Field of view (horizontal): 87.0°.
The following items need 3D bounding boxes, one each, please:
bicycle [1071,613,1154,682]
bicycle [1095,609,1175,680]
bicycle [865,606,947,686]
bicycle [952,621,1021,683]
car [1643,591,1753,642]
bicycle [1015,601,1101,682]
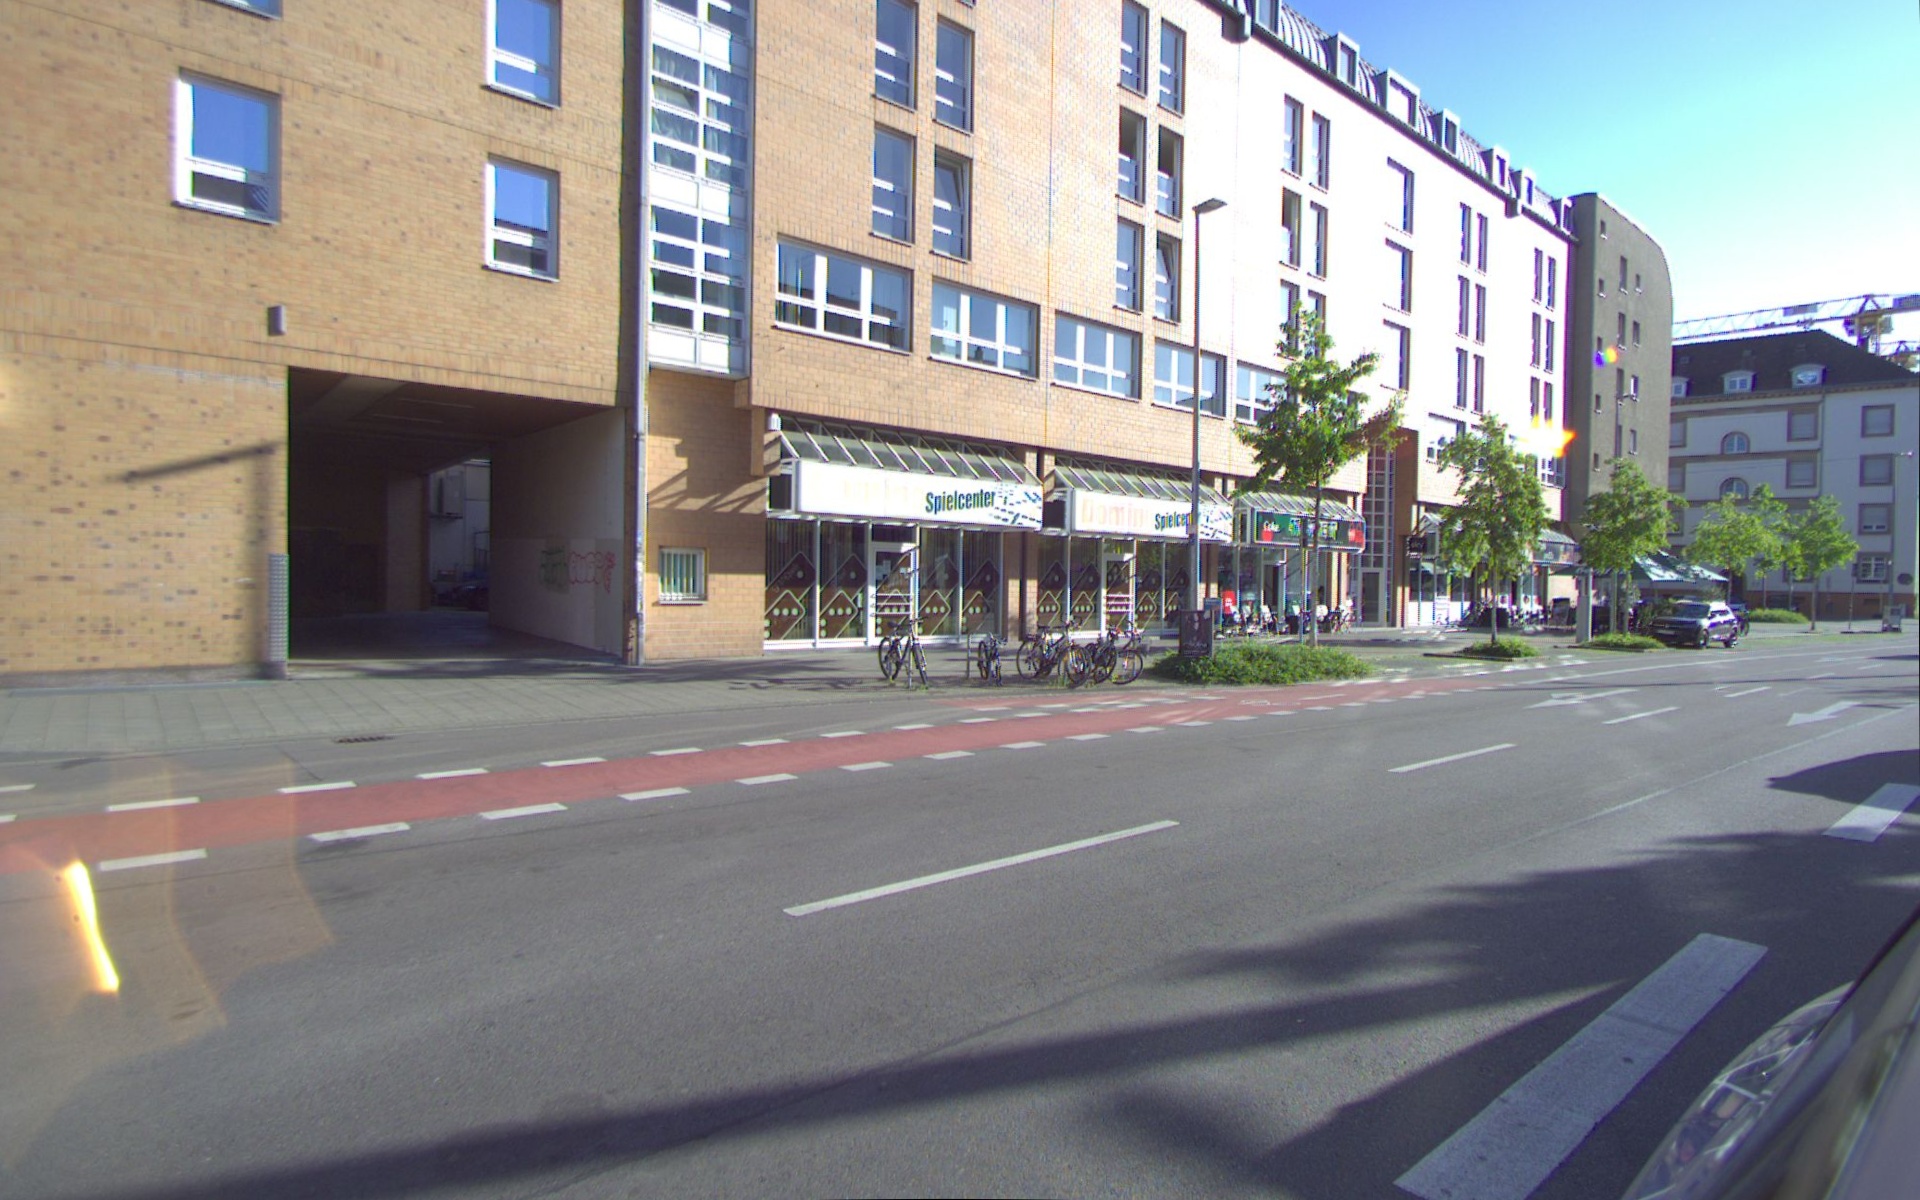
[{"bbox_3d":[2.639,0.797,17.662,0.440,0.997,1.843,0,3,-26],"label":"bicycle"},{"bbox_3d":[3.064,0.750,17.888,0.343,1.069,1.843,0,3,-26],"label":"bicycle"},{"bbox_3d":[-0.891,0.702,16.103,0.423,1.089,1.776,-1,4,-35],"label":"bicycle"},{"bbox_3d":[0.418,0.843,16.922,0.359,0.842,1.779,0,3,-26],"label":"bicycle"},{"bbox_3d":[25.796,0.561,35.361,3.921,1.660,1.782,0,1,-33],"label":"car"},{"bbox_3d":[1.635,0.673,17.186,0.553,1.177,1.843,0,3,-26],"label":"bicycle"}]
